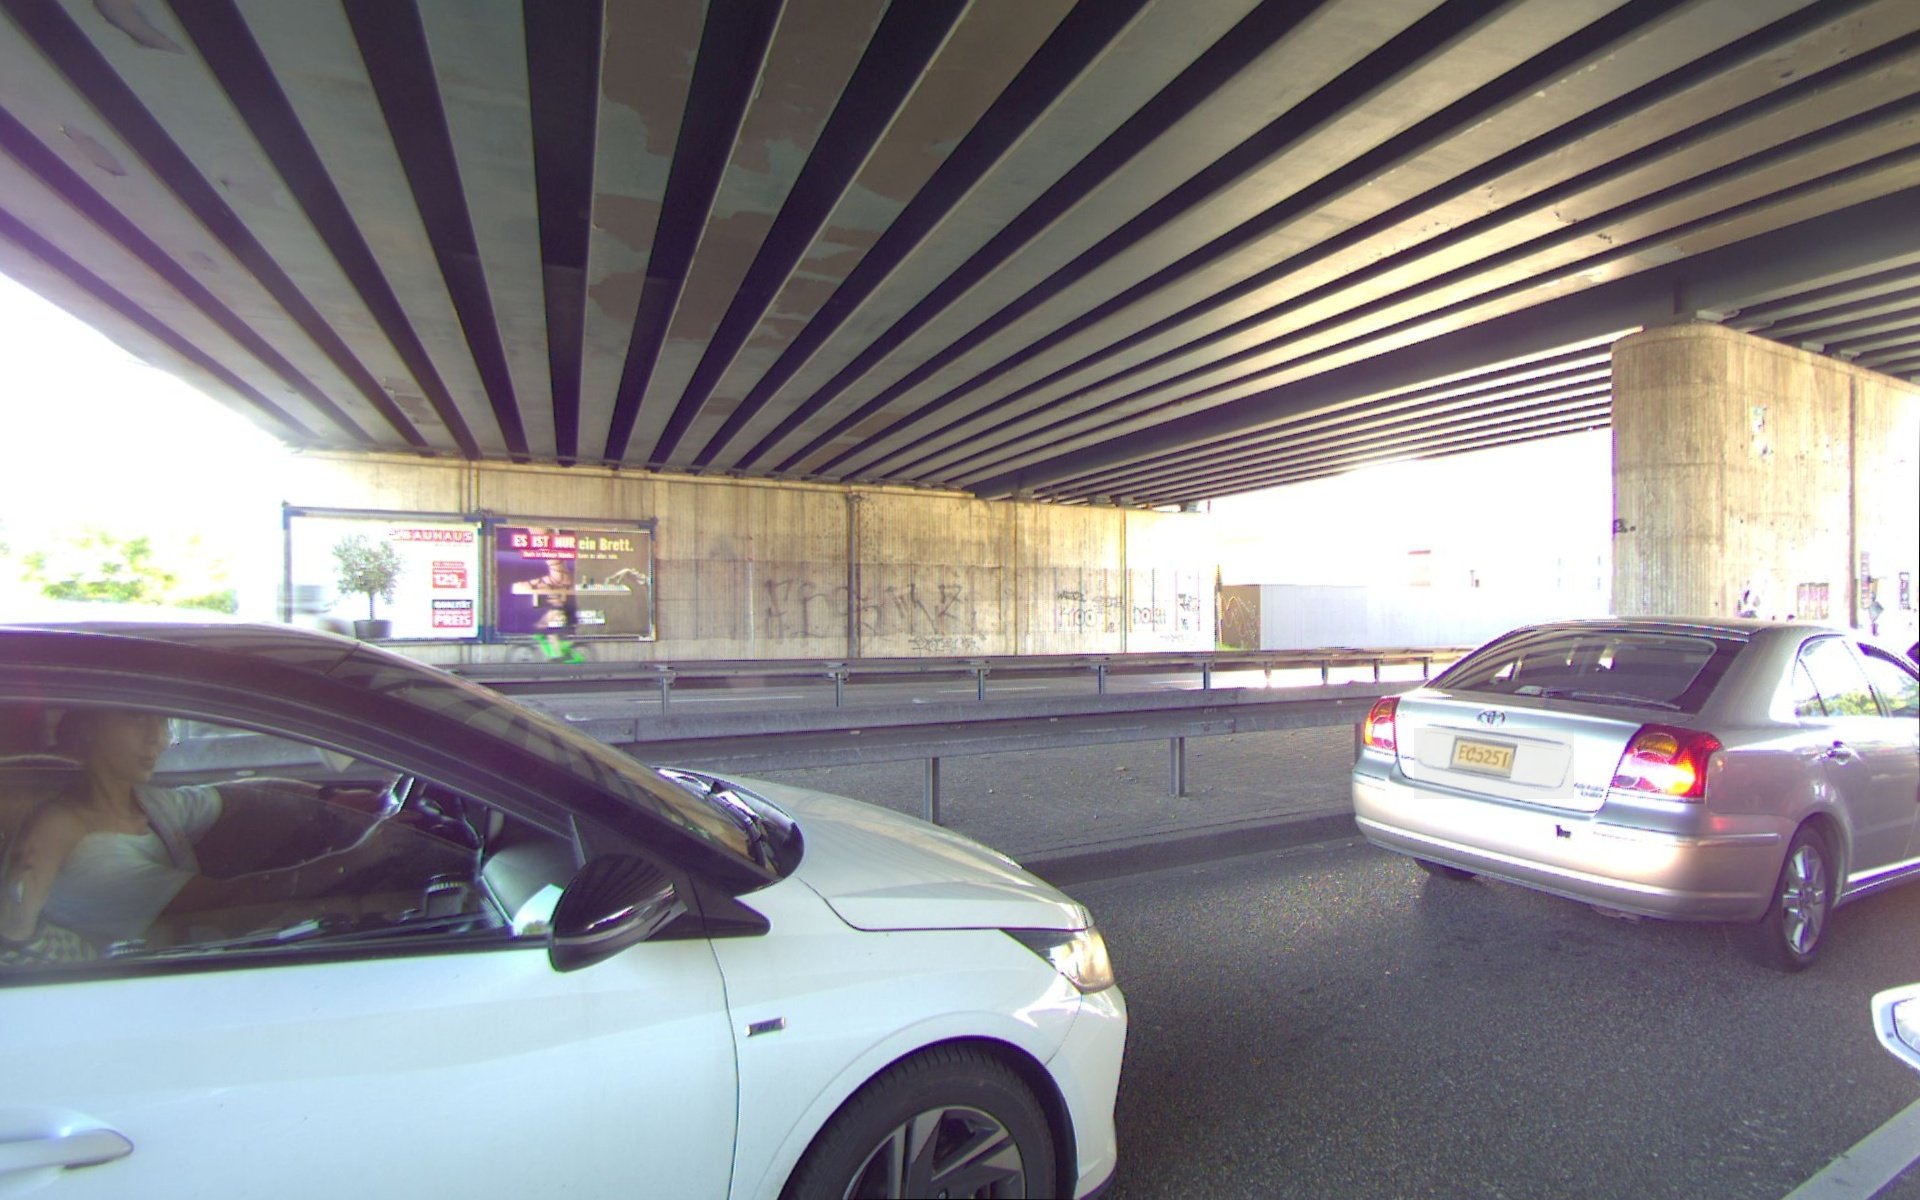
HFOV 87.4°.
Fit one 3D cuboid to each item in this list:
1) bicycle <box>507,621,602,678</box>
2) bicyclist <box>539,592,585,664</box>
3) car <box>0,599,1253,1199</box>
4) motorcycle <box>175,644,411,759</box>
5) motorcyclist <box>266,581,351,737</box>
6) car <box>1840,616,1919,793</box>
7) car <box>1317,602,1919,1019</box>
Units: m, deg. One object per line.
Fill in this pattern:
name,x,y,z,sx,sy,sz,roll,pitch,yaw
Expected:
bicycle,-8.926,1.079,22.116,1.856,1.181,0.631,2,0,-30
bicyclist,-8.793,0.619,22.187,0.827,1.545,0.624,2,0,-30
car,-1.423,0.723,1.974,3.828,1.422,1.723,1,0,-32
motorcycle,-6.839,1.010,10.439,1.985,1.041,0.689,0,0,-30
motorcyclist,-6.779,0.589,10.478,0.690,1.548,0.693,0,0,-30
car,9.603,0.896,8.871,3.769,1.429,1.684,1,0,-31
car,4.095,0.794,5.451,4.347,1.474,1.688,1,0,-31
